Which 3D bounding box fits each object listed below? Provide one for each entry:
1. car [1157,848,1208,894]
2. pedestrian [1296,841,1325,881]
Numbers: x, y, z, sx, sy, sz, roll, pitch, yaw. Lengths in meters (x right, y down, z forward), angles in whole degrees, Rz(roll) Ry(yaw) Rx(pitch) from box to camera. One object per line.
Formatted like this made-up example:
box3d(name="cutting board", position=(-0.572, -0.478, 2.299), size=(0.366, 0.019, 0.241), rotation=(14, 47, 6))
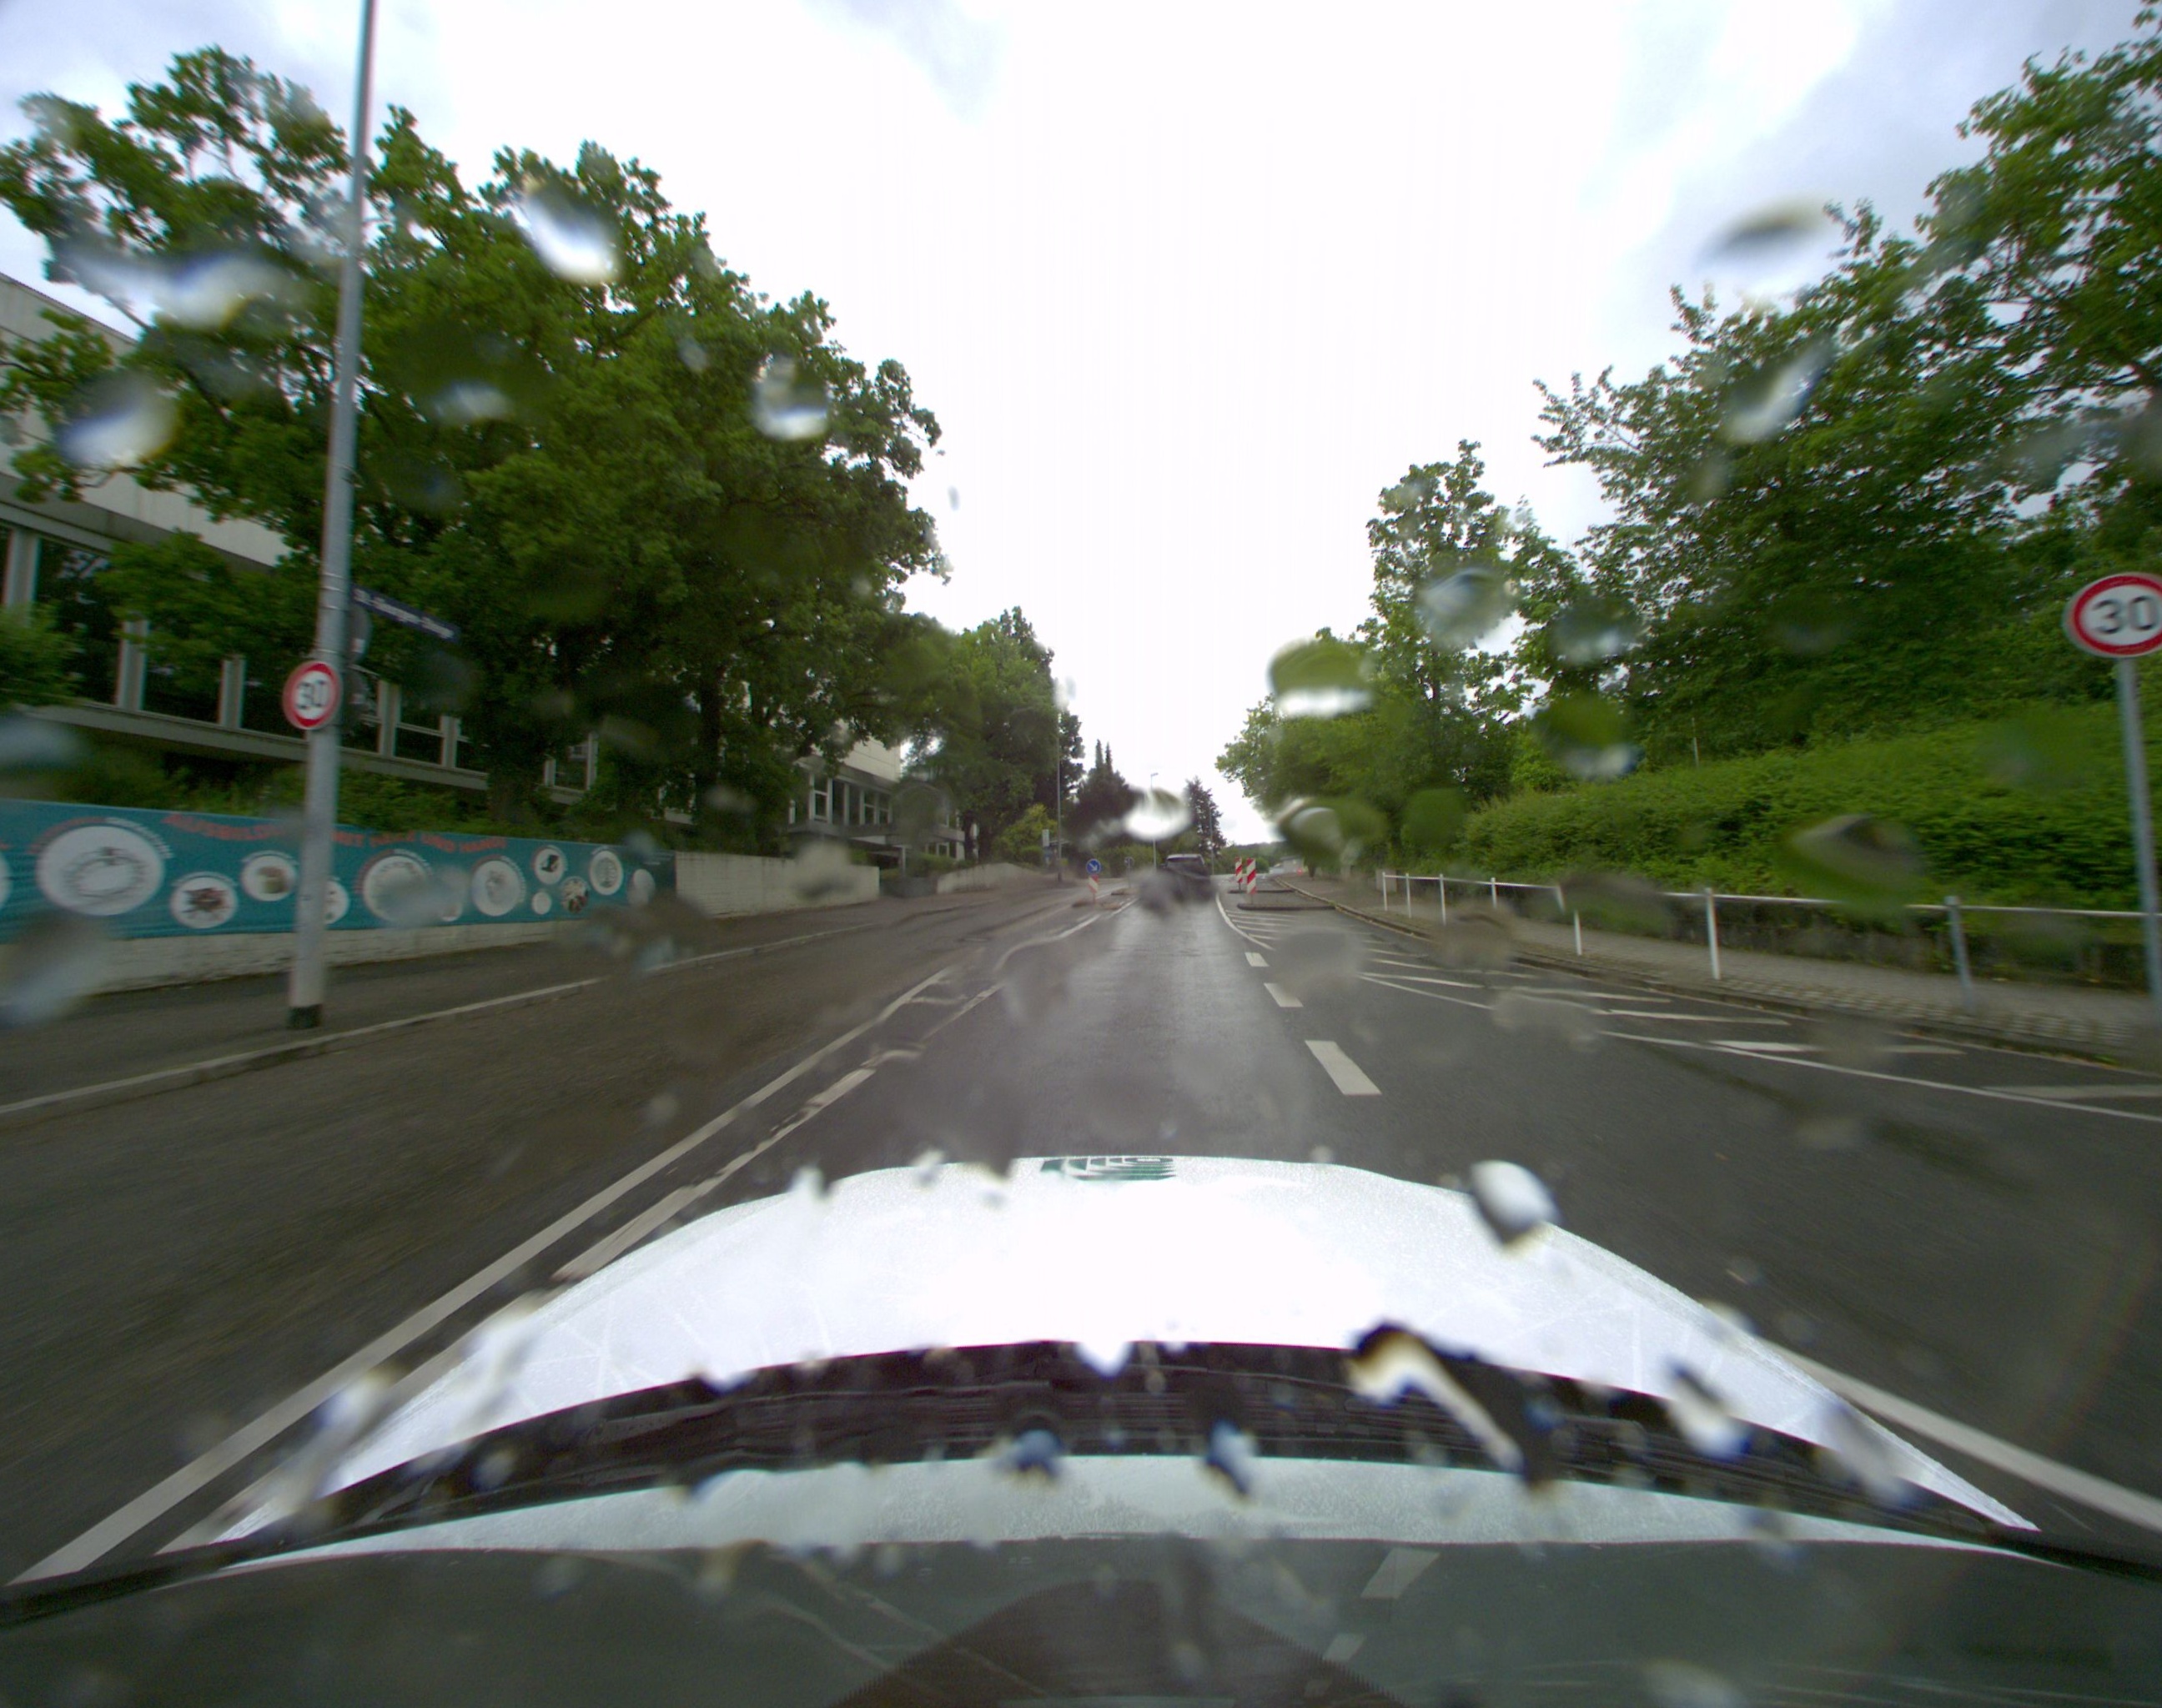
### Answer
box3d(name="car", position=(4.016, 0.614, 32.097), size=(1.780, 1.603, 4.263), rotation=(-3, 0, 8))
box3d(name="pedestrian", position=(11.139, 0.361, 39.575), size=(1.046, 1.894, 1.134), rotation=(-2, -3, 3))
